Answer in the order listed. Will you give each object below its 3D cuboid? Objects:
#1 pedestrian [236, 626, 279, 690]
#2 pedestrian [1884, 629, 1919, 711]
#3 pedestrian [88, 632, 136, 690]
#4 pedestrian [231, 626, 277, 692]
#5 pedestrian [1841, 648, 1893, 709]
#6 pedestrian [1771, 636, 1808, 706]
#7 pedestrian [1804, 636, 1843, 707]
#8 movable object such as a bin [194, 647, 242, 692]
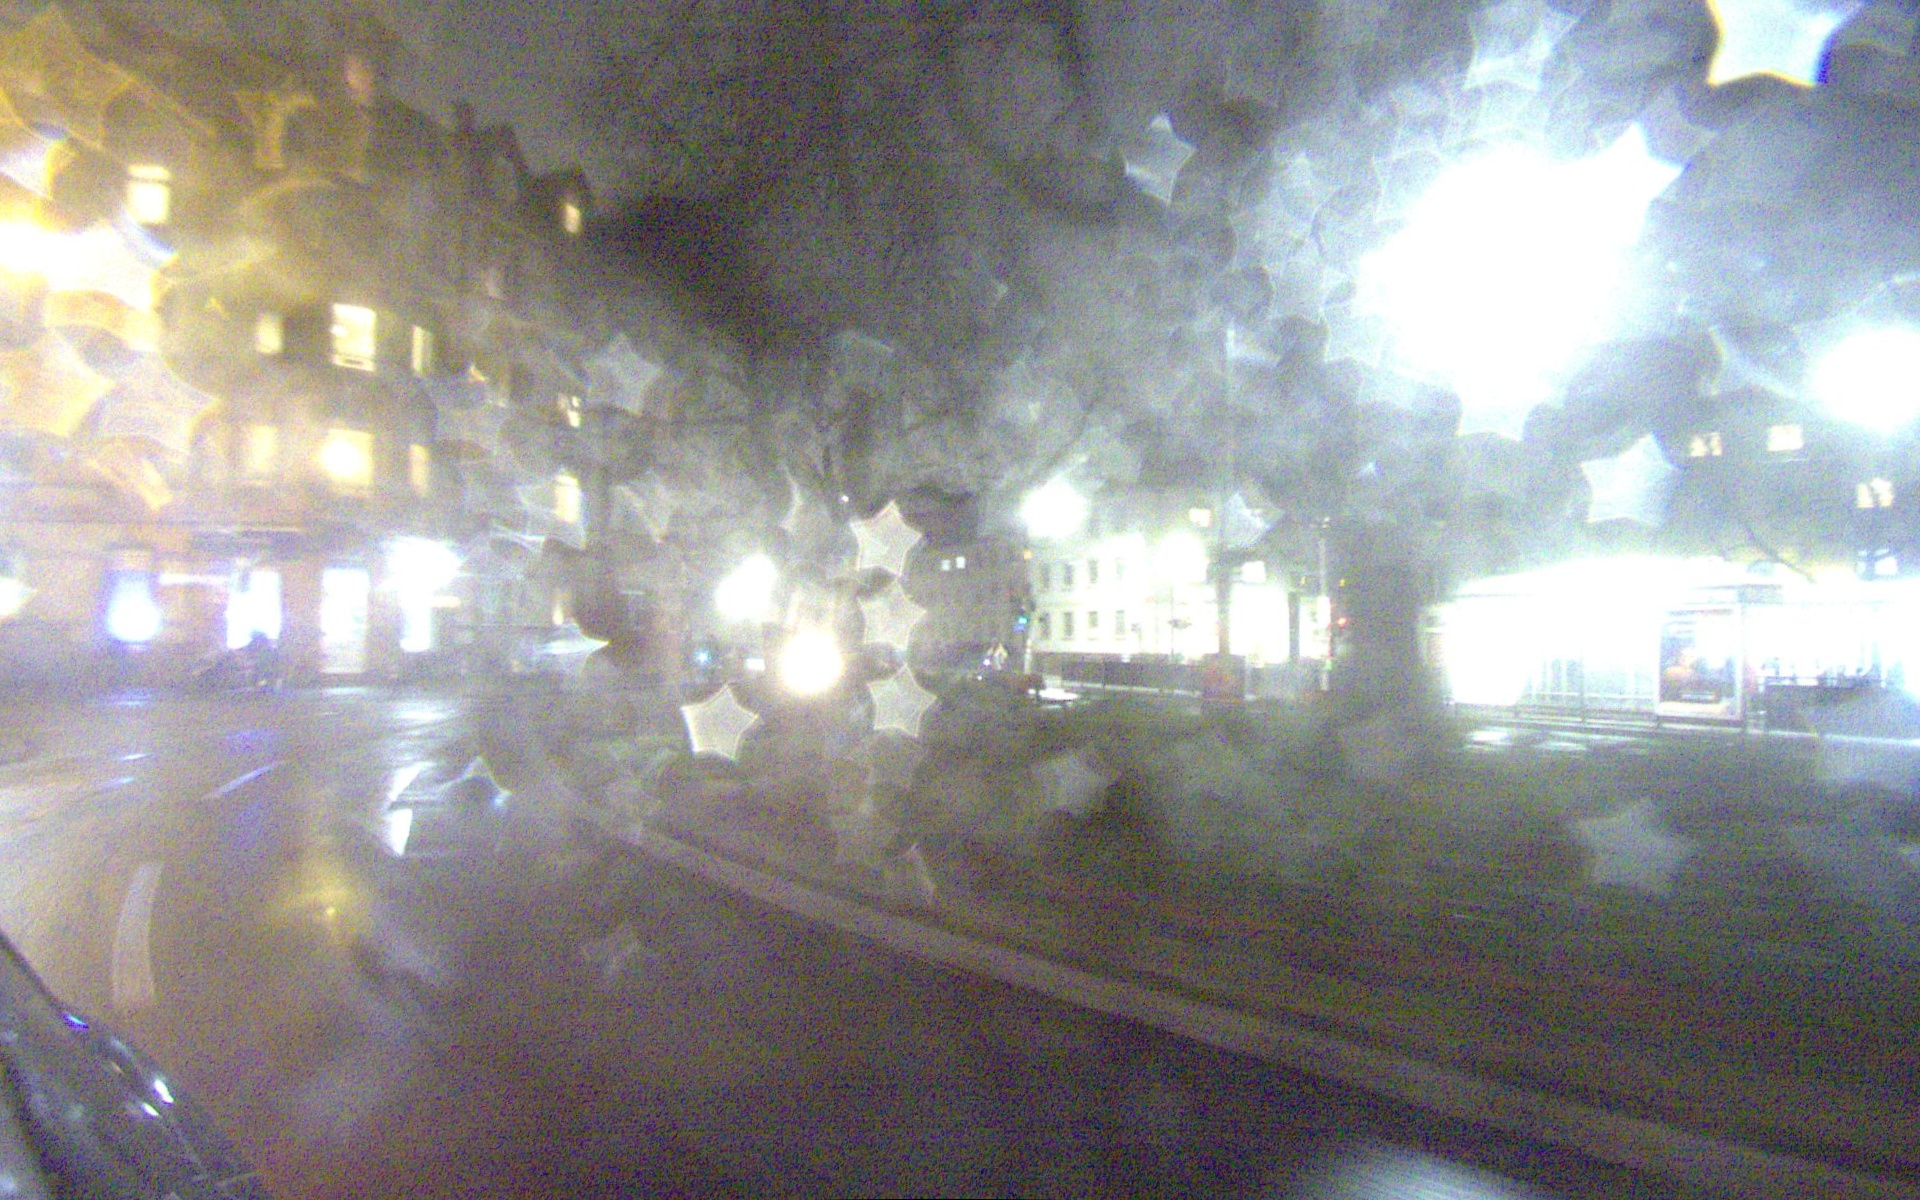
[{"bbox_3d":[-18.638,1.531,26.870,0.828,1.650,0.636,-1,-1,-25],"label":"pedestrian"},{"bbox_3d":[19.802,1.457,21.098,0.555,1.664,0.581,-2,-1,19],"label":"pedestrian"},{"bbox_3d":[-22.523,1.614,26.889,0.757,1.505,0.635,-1,-1,-3],"label":"pedestrian"},{"bbox_3d":[-18.305,1.517,26.264,0.859,1.650,0.636,-1,-1,-25],"label":"pedestrian"},{"bbox_3d":[19.588,1.690,21.867,0.619,1.263,0.581,-2,-1,19],"label":"pedestrian"},{"bbox_3d":[19.036,1.607,23.219,0.504,1.559,0.575,-1,-1,-45],"label":"pedestrian"},{"bbox_3d":[19.442,1.592,22.783,0.473,1.540,0.587,-1,-1,-45],"label":"pedestrian"},{"bbox_3d":[-19.420,1.808,26.506,0.907,1.124,0.636,-1,-1,-25],"label":"movable object such as a bin"}]
